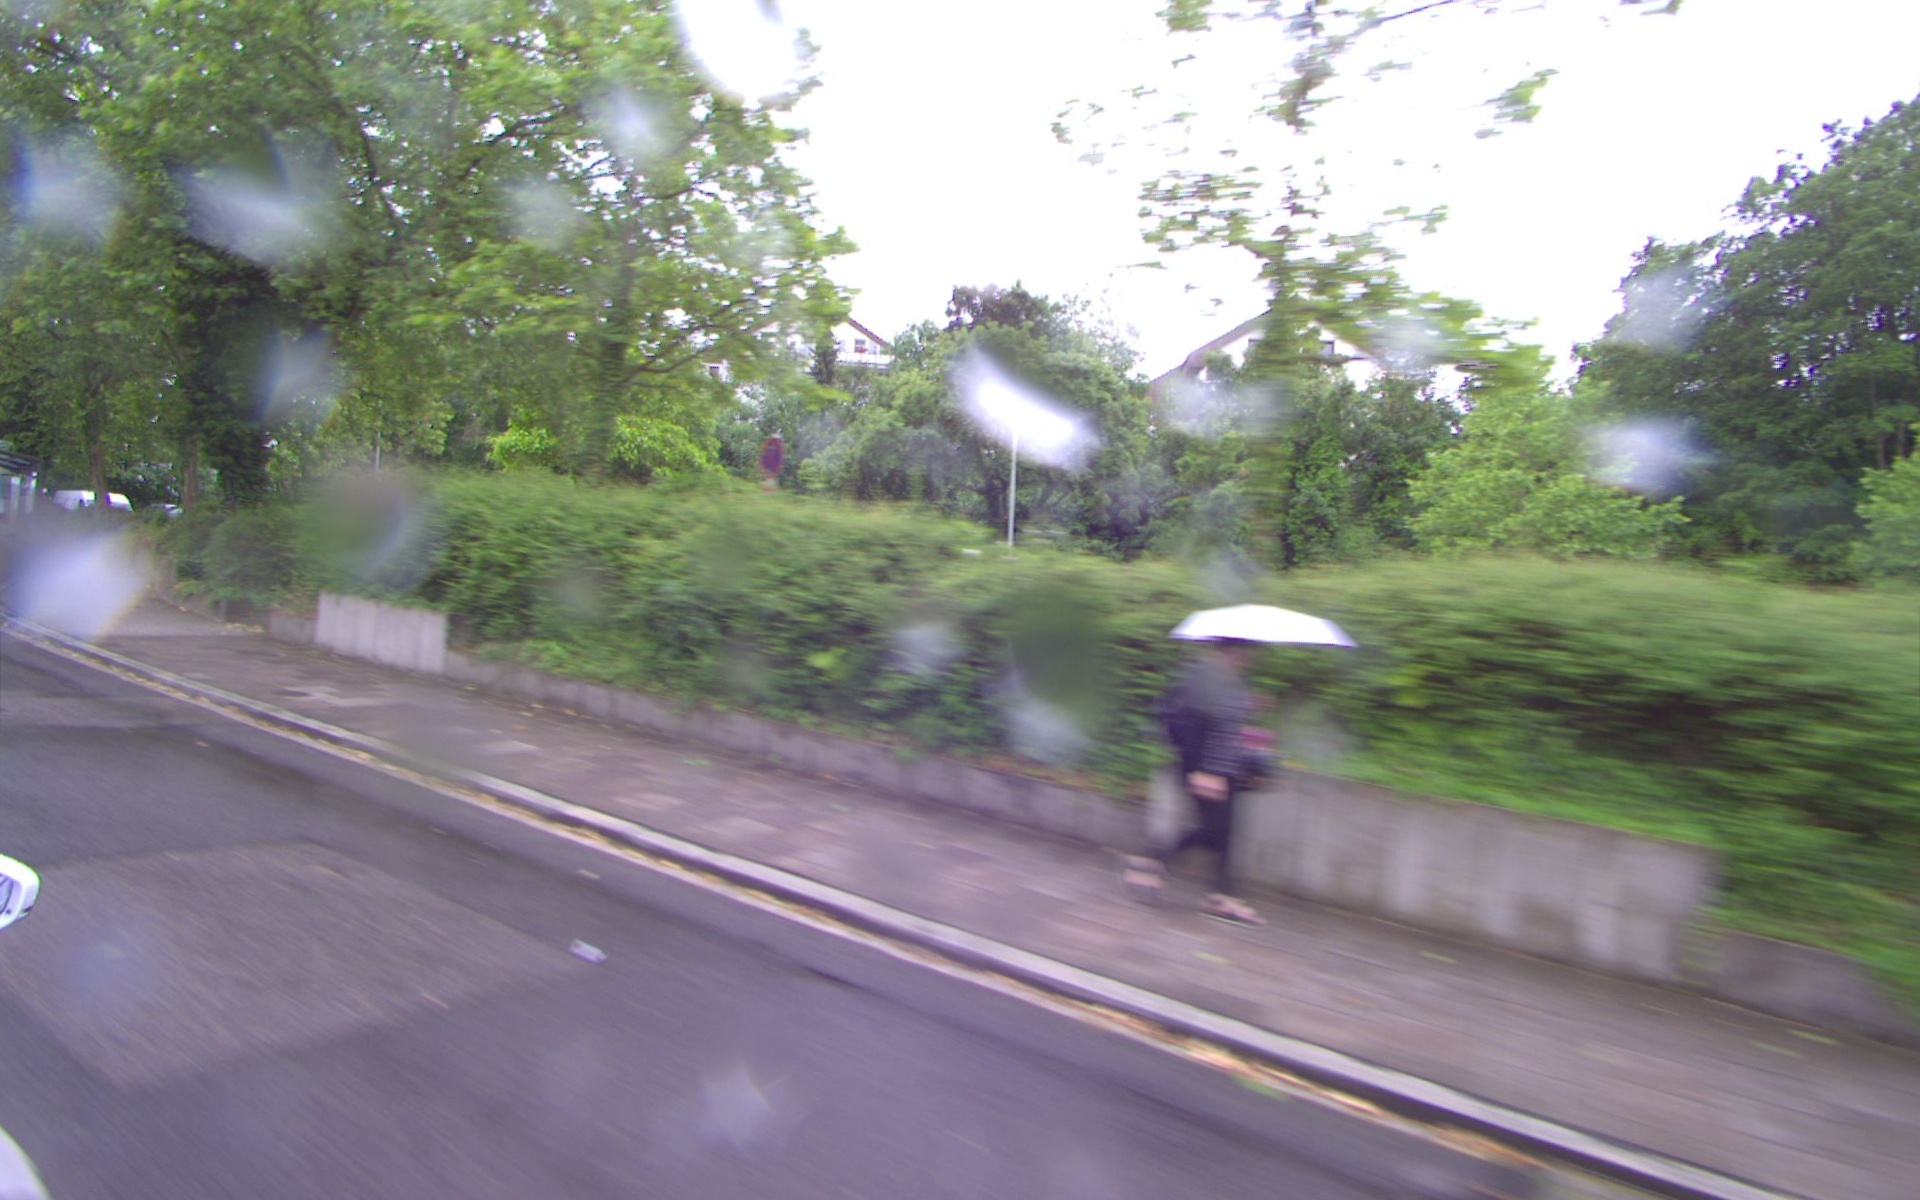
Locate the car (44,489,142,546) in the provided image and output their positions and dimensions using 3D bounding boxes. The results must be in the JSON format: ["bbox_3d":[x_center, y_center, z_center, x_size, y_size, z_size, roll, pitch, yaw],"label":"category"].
[{"bbox_3d":[-43.914,-4.198,50.913,4.932,2.311,2.049,7,-1,30],"label":"car"}]

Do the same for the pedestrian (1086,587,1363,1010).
[{"bbox_3d":[1.458,0.963,5.428,1.113,1.916,1.054,4,-1,27],"label":"pedestrian"}]
